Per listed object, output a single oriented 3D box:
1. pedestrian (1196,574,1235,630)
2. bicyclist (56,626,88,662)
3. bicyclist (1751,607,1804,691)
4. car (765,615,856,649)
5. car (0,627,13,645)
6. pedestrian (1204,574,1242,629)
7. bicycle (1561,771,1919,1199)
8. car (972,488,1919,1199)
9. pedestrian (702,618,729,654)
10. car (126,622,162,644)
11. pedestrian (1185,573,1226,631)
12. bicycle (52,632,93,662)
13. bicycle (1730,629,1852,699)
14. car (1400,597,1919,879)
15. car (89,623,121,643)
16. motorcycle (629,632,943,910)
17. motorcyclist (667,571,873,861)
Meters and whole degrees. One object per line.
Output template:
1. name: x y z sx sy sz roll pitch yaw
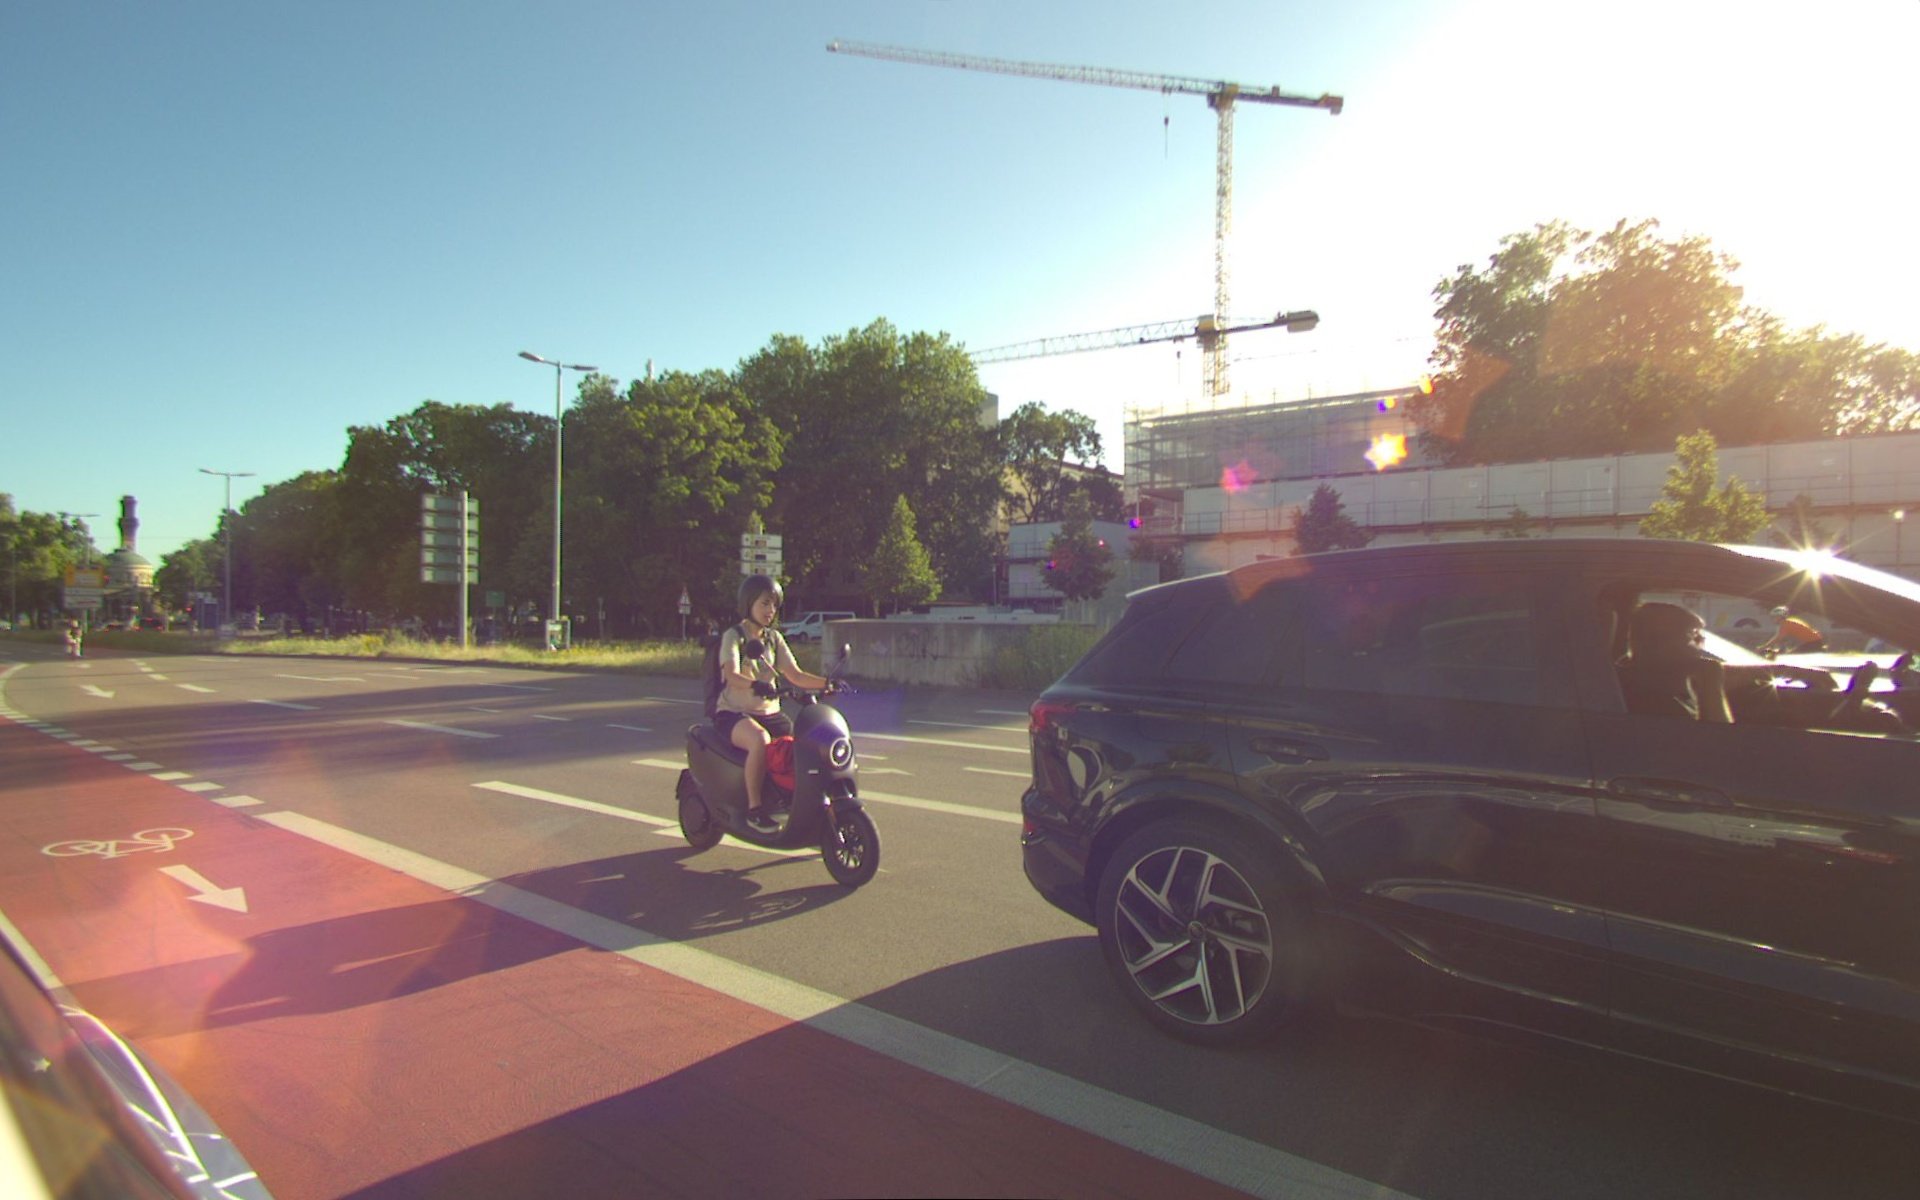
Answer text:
1. pedestrian: 9.388 0.074 37.161 1.135 2.029 0.930 -1 0 35
2. bicyclist: -34.701 1.721 39.548 0.829 1.358 0.843 -2 -1 41
3. bicyclist: 14.633 0.863 18.120 0.713 1.448 0.490 -1 0 39
4. car: -9.071 1.932 61.841 2.065 1.950 5.443 -1 -2 42
5. car: -104.932 3.883 108.935 4.531 1.851 1.874 -1 0 8
6. pedestrian: 9.872 0.068 37.966 1.135 2.029 0.930 -1 0 35
7. bicycle: 1.293 0.786 0.301 1.829 1.227 0.610 -2 -1 39
8. car: 2.409 0.580 3.024 4.677 1.647 1.753 -1 0 40
9. pedestrian: -13.184 1.922 54.480 1.018 1.845 0.977 -1 0 37
10. car: -71.521 2.856 88.667 3.998 1.841 1.796 -1 0 41
11. pedestrian: 8.823 0.082 36.372 1.135 2.029 0.930 -1 0 35
12. bicycle: -34.691 1.818 39.541 2.806 1.124 0.843 -2 -1 41
13. bicycle: 14.765 1.121 18.026 1.649 1.163 0.490 -1 0 40
14. car: 4.967 0.758 6.543 3.603 1.497 1.477 -2 -1 41
15. car: -79.882 3.038 94.524 3.945 1.802 1.725 -1 0 41
16. motorcycle: -1.040 0.846 5.727 1.883 1.303 0.715 -2 -1 41
17. motorcyclist: -1.086 0.599 5.767 0.917 1.485 0.717 -2 -1 41
